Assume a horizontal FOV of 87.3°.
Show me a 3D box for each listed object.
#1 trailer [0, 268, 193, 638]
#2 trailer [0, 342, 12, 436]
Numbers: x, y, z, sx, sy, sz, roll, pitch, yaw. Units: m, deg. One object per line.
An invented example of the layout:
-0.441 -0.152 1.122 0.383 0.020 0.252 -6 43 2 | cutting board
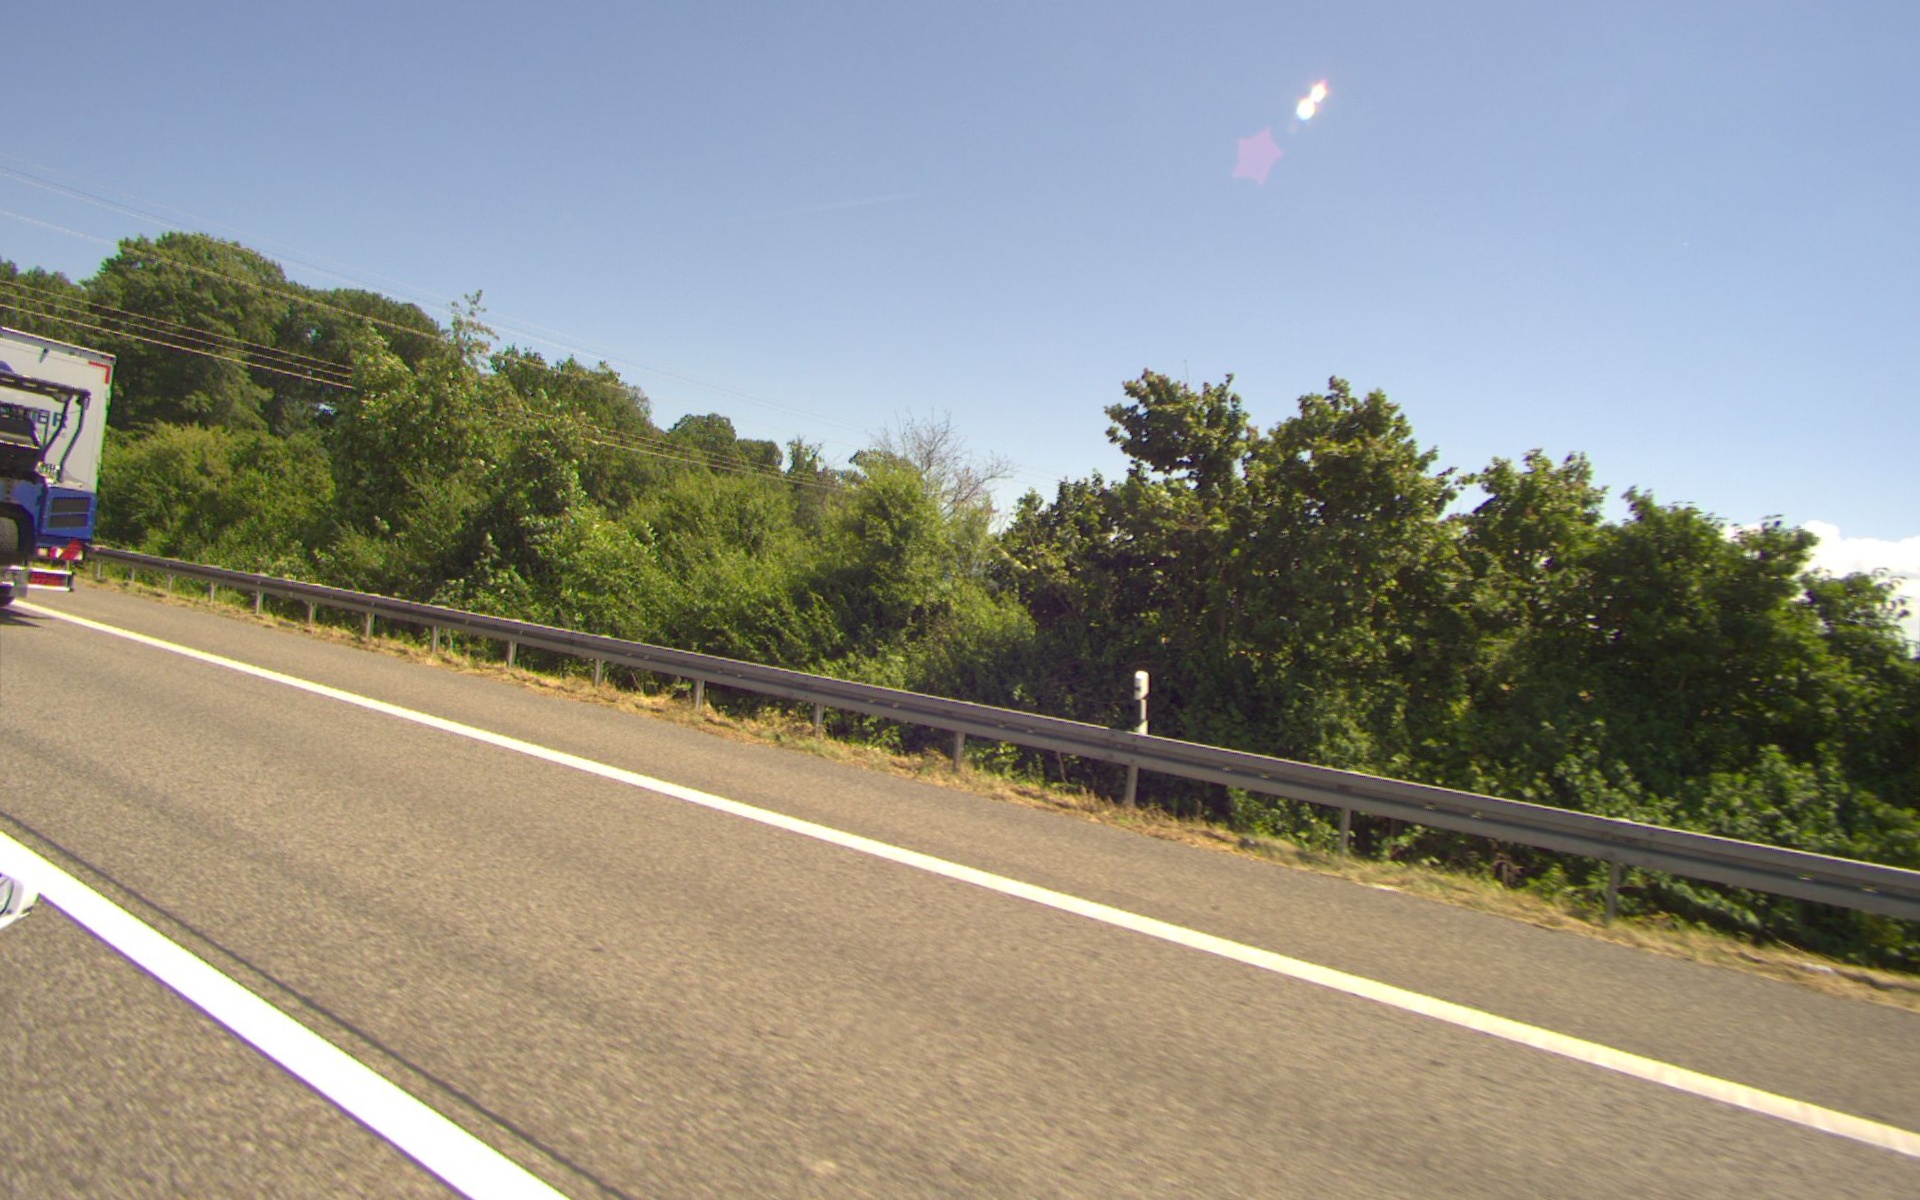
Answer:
-14.324 -2.074 13.856 7.993 4.110 2.950 7 -1 32 | trailer
-19.587 -2.649 17.127 7.196 4.088 2.925 7 -1 32 | trailer
